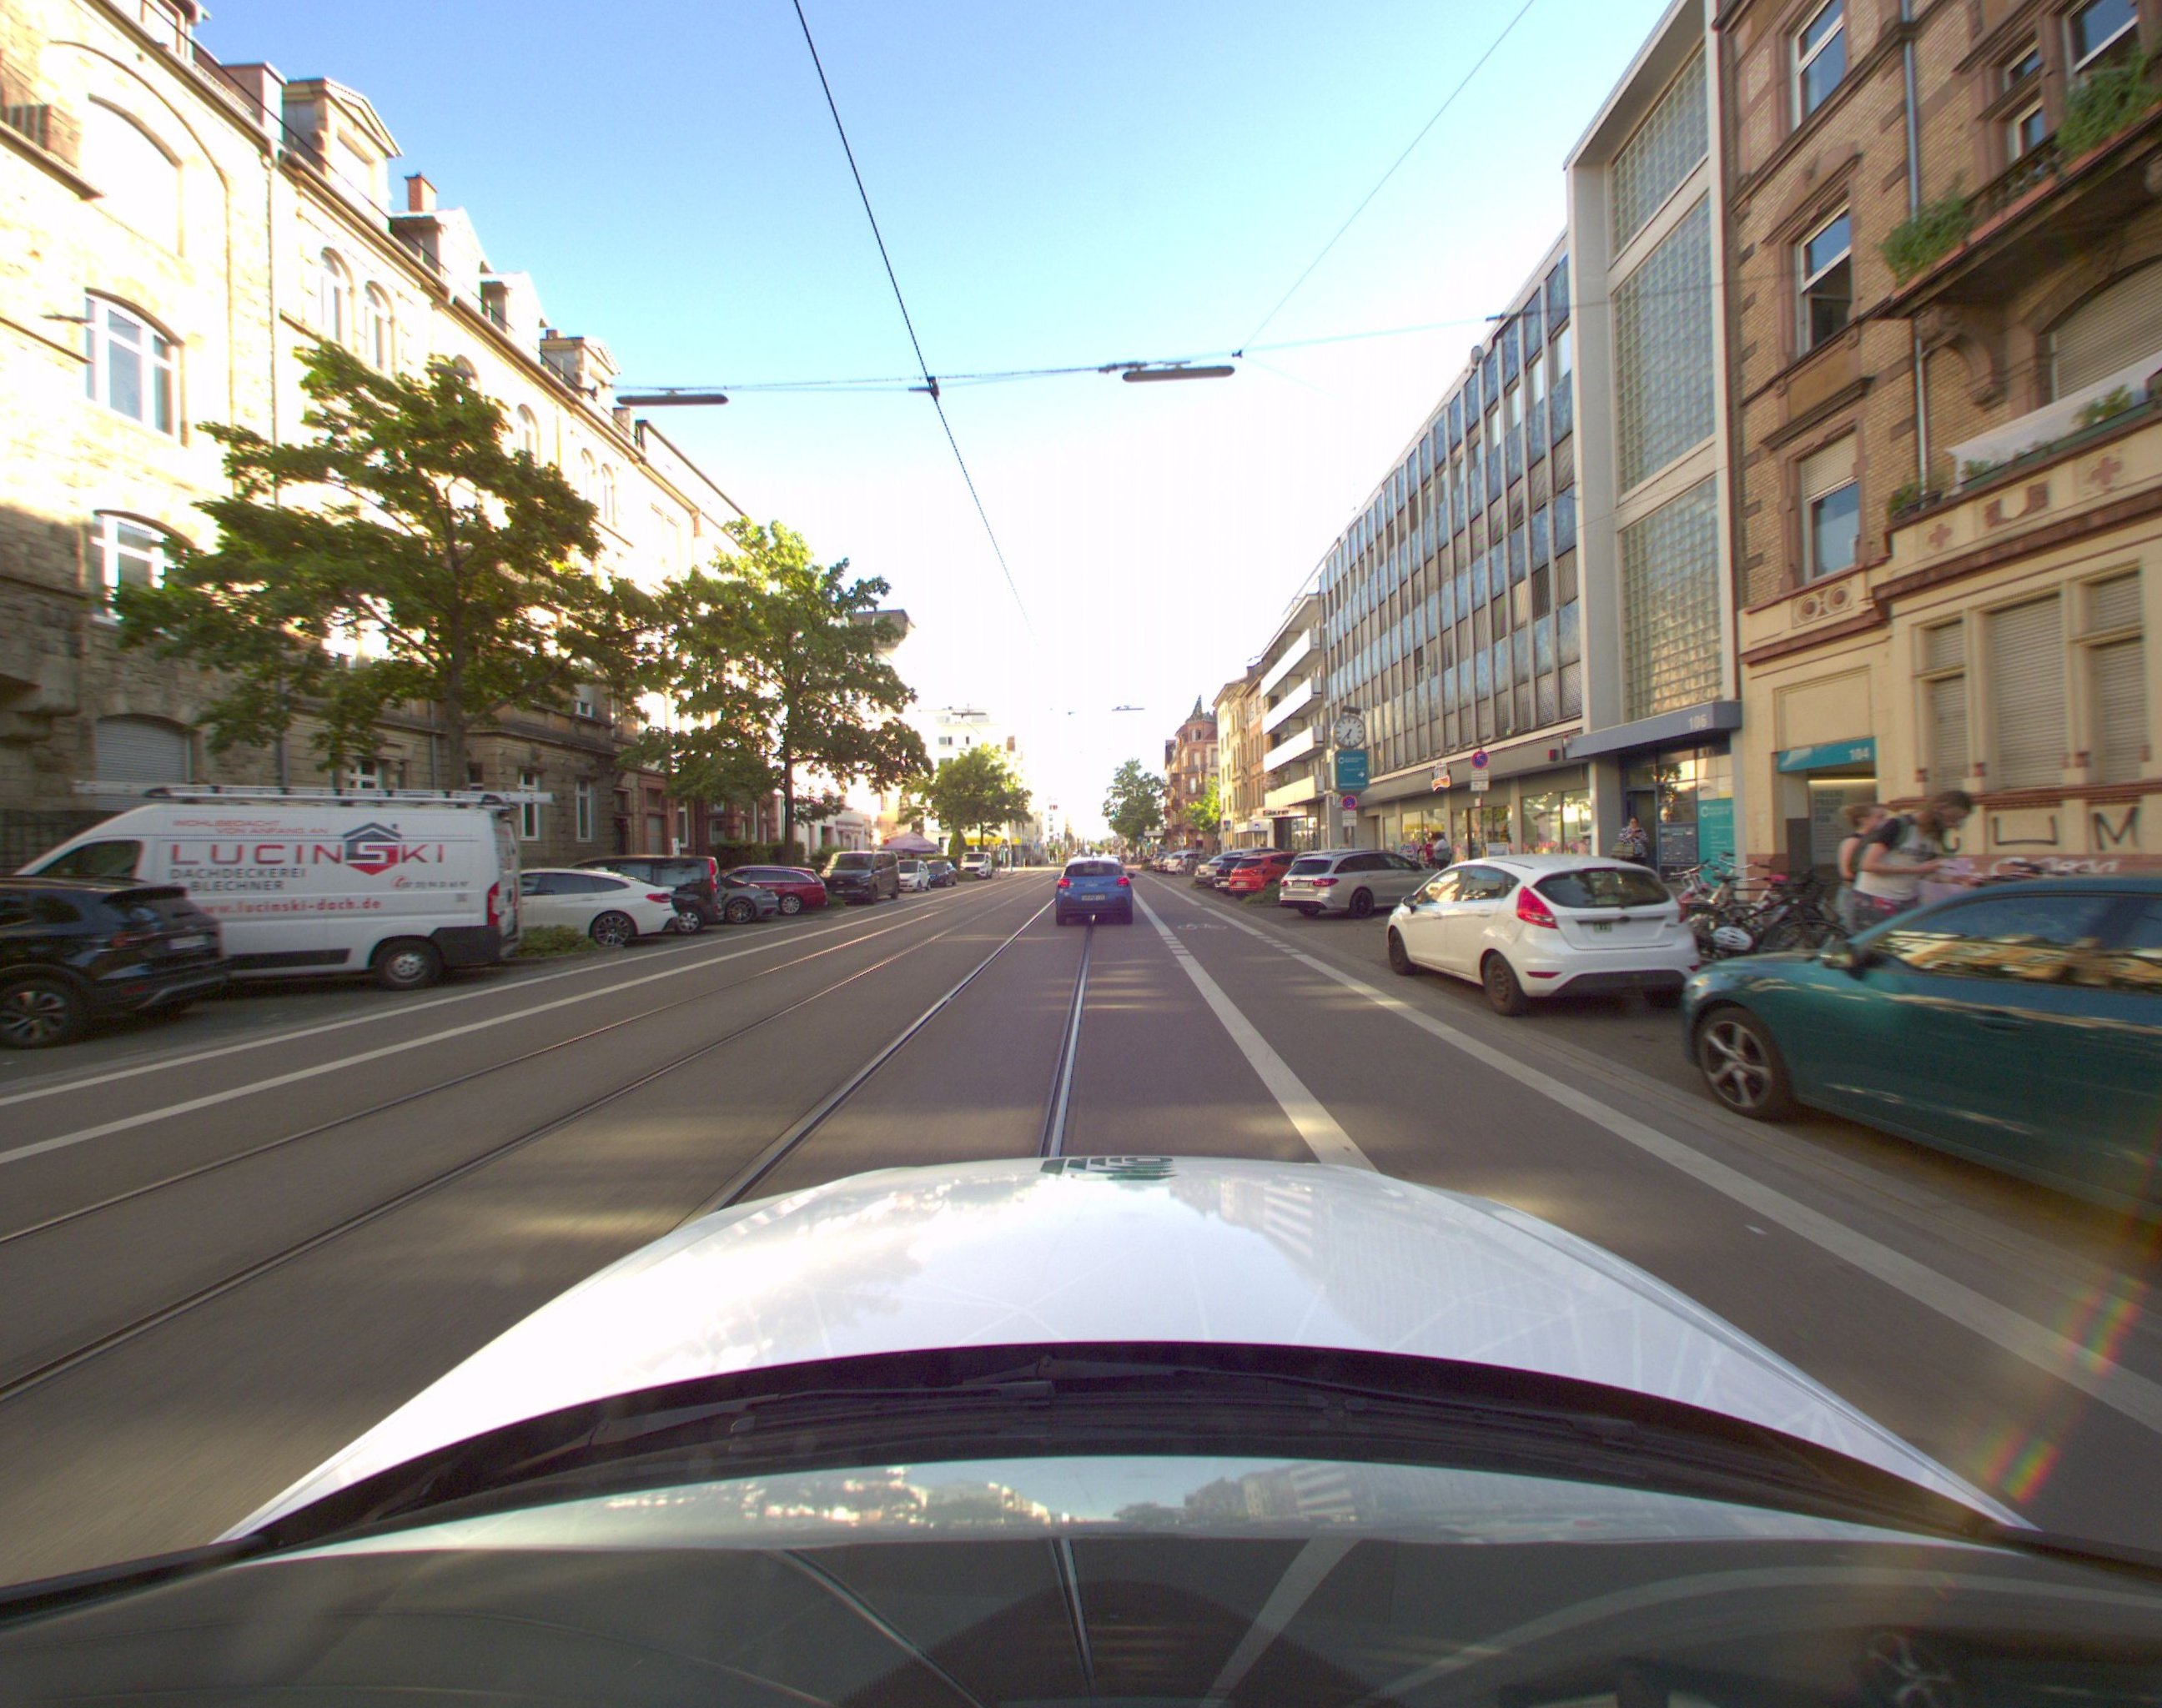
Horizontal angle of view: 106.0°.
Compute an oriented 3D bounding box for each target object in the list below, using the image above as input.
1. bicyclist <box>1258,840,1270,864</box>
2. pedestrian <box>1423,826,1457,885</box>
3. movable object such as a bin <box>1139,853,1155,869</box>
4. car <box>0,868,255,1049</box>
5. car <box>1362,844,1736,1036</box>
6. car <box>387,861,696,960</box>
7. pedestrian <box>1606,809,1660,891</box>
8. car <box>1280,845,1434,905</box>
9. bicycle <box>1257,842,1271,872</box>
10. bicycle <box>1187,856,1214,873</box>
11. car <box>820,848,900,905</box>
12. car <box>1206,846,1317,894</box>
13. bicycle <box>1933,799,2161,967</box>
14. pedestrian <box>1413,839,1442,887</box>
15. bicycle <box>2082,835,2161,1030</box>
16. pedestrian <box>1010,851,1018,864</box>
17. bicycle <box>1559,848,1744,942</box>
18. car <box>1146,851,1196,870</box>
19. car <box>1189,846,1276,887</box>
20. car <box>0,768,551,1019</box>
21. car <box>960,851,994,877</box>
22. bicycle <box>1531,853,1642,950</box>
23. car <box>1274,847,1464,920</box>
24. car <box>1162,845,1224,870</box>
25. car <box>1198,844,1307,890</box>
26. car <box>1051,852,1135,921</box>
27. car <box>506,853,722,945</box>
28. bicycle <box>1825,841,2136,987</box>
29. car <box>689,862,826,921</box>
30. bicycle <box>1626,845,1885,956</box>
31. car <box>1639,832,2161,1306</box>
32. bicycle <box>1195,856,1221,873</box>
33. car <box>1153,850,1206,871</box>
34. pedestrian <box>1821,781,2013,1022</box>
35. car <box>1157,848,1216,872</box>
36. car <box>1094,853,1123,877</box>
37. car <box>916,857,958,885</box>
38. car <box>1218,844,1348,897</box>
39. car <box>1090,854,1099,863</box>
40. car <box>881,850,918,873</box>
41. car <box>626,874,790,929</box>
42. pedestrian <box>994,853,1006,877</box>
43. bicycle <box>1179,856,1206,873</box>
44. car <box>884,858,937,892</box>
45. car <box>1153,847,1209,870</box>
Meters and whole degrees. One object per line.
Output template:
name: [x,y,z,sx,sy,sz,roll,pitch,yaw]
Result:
bicyclist: [12.463,-0.132,55.468,0.728,1.623,0.529,-1,-1,7]
pedestrian: [10.823,0.045,24.561,0.690,1.756,0.678,-1,-1,1]
movable object such as a bin: [6.173,0.668,76.031,1.389,1.483,1.656,-1,0,2]
car: [-11.056,0.989,7.830,4.005,1.618,1.699,-1,-1,-24]
car: [4.626,0.734,8.854,1.866,1.596,4.002,-1,0,2]
car: [-10.212,0.988,15.850,4.787,1.618,1.695,-1,-1,-31]
pedestrian: [12.522,-0.082,18.505,0.717,1.806,0.727,-1,-1,2]
car: [7.471,0.516,22.014,3.796,1.487,1.822,-1,-1,-28]
bicycle: [12.451,0.201,55.416,0.724,2.014,2.363,-1,0,8]
bicycle: [7.382,0.644,50.342,0.557,1.047,1.789,0,-1,-34]
car: [-8.402,0.807,31.477,1.742,1.973,5.237,-1,0,-1]
car: [6.301,0.534,28.418,3.463,1.555,1.806,-1,-1,-30]
bicycle: [7.979,0.208,6.316,2.012,1.221,0.664,-1,-1,1]
pedestrian: [11.744,0.298,27.639,0.690,1.587,0.678,-1,-1,1]
bicycle: [8.015,0.472,5.141,2.529,1.221,0.664,-1,-1,1]
pedestrian: [-9.186,0.527,111.743,0.942,1.751,0.700,-1,-1,-3]
bicycle: [7.852,0.547,11.327,2.001,1.221,0.667,-1,-1,24]
car: [7.332,0.517,66.702,3.664,1.534,1.778,-1,0,-18]
car: [6.377,0.502,34.198,3.467,1.640,1.666,-1,-1,-35]
car: [-10.328,0.416,10.774,5.402,2.749,1.789,-1,-1,-29]
car: [-7.598,0.726,59.787,1.825,1.848,4.215,-1,0,2]
bicycle: [6.590,0.591,10.679,0.690,1.185,1.239,-1,0,1]
car: [6.674,0.619,18.760,4.465,1.508,1.522,-1,-1,-28]
car: [7.451,0.225,54.059,3.674,1.574,1.844,-1,-1,-27]
car: [6.647,0.474,31.514,3.743,1.652,2.027,-1,-1,-31]
car: [0.305,0.700,19.023,1.756,1.441,3.558,-1,0,1]
car: [-10.189,0.916,18.143,4.005,1.817,1.699,-1,-1,-24]
bicycle: [7.984,0.516,7.290,2.012,1.221,0.664,-1,-1,1]
car: [-9.766,1.086,24.802,3.735,1.622,1.777,-1,-1,-20]
bicycle: [7.749,0.530,9.438,2.347,1.221,0.665,-1,-1,4]
car: [4.585,0.715,3.399,1.866,1.596,4.002,-1,0,2]
bicycle: [7.895,0.634,50.711,0.557,1.047,1.789,0,-1,-34]
car: [7.671,0.472,63.568,3.664,1.574,1.850,-1,0,-18]
pedestrian: [6.117,0.331,5.995,0.709,1.671,0.654,-1,-1,1]
car: [7.409,0.414,57.241,3.664,1.574,1.850,-1,0,-18]
car: [1.871,0.733,55.380,1.866,1.596,4.002,-1,0,2]
car: [-8.099,0.952,46.076,1.742,1.487,4.039,-1,0,-1]
car: [6.408,0.485,25.783,3.743,1.521,1.949,-1,-1,-31]
car: [2.242,0.792,132.680,1.417,1.432,3.140,-1,0,2]
car: [-12.305,0.489,55.450,1.628,1.469,3.528,-1,0,2]
car: [-9.832,1.208,21.678,3.815,1.265,1.504,-1,0,-24]
pedestrian: [-6.016,0.810,60.290,0.732,1.726,0.623,-1,-1,-23]
bicycle: [6.844,0.655,49.996,0.557,1.047,1.789,0,-1,-34]
car: [-8.455,1.003,40.718,1.742,1.618,4.408,-1,0,-1]
car: [7.354,0.332,60.164,3.664,1.574,1.850,-1,0,-18]
